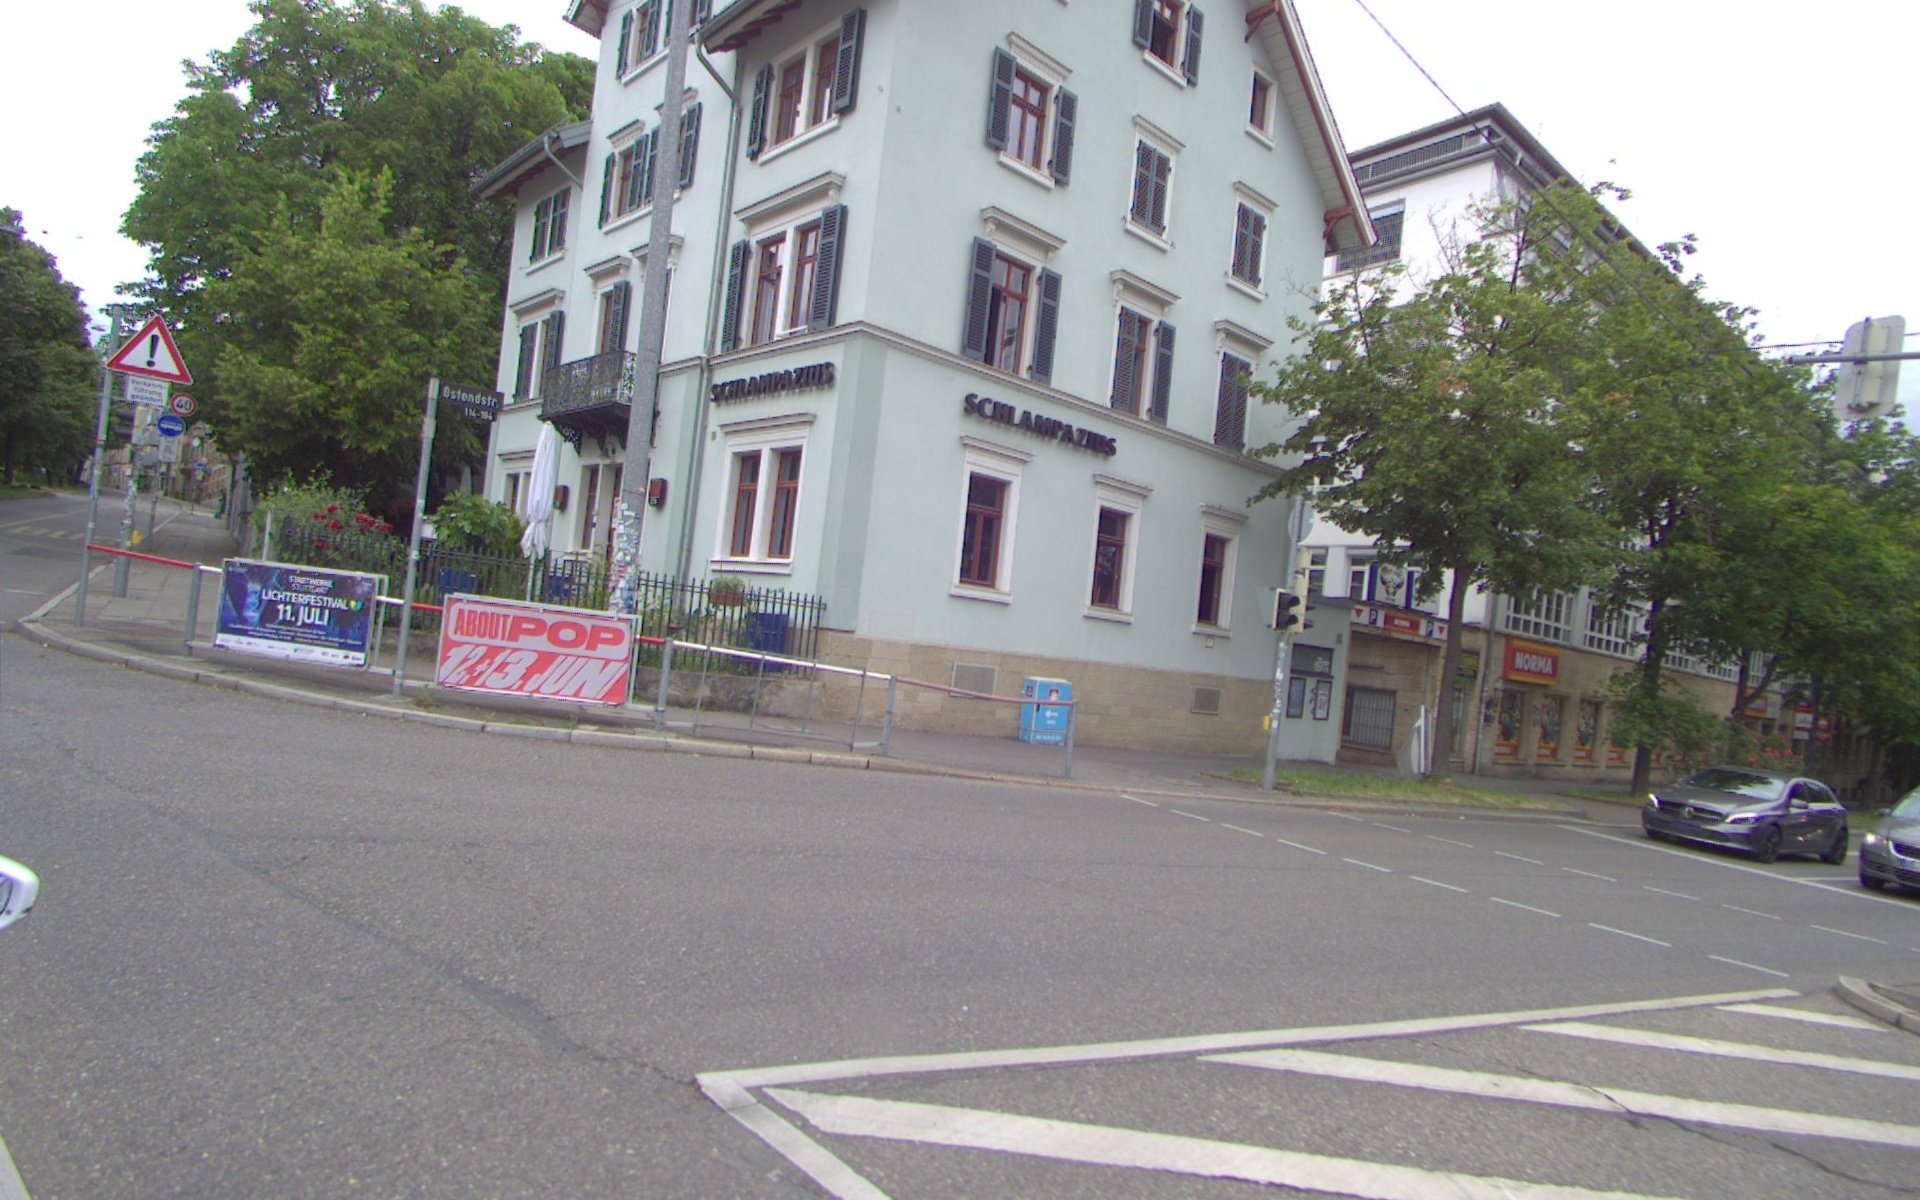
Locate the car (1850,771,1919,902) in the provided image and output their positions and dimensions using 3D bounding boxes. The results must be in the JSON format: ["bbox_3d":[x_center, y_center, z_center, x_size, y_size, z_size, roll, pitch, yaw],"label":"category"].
[{"bbox_3d":[14.952,3.591,14.714,4.158,1.657,1.697,10,-3,-32],"label":"car"}]

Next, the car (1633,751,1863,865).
[{"bbox_3d":[13.631,3.607,17.341,4.158,1.440,1.696,10,-2,-32],"label":"car"}]

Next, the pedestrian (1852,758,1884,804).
[{"bbox_3d":[41.351,8.229,45.810,0.803,1.935,0.741,8,0,-36],"label":"pedestrian"}]
